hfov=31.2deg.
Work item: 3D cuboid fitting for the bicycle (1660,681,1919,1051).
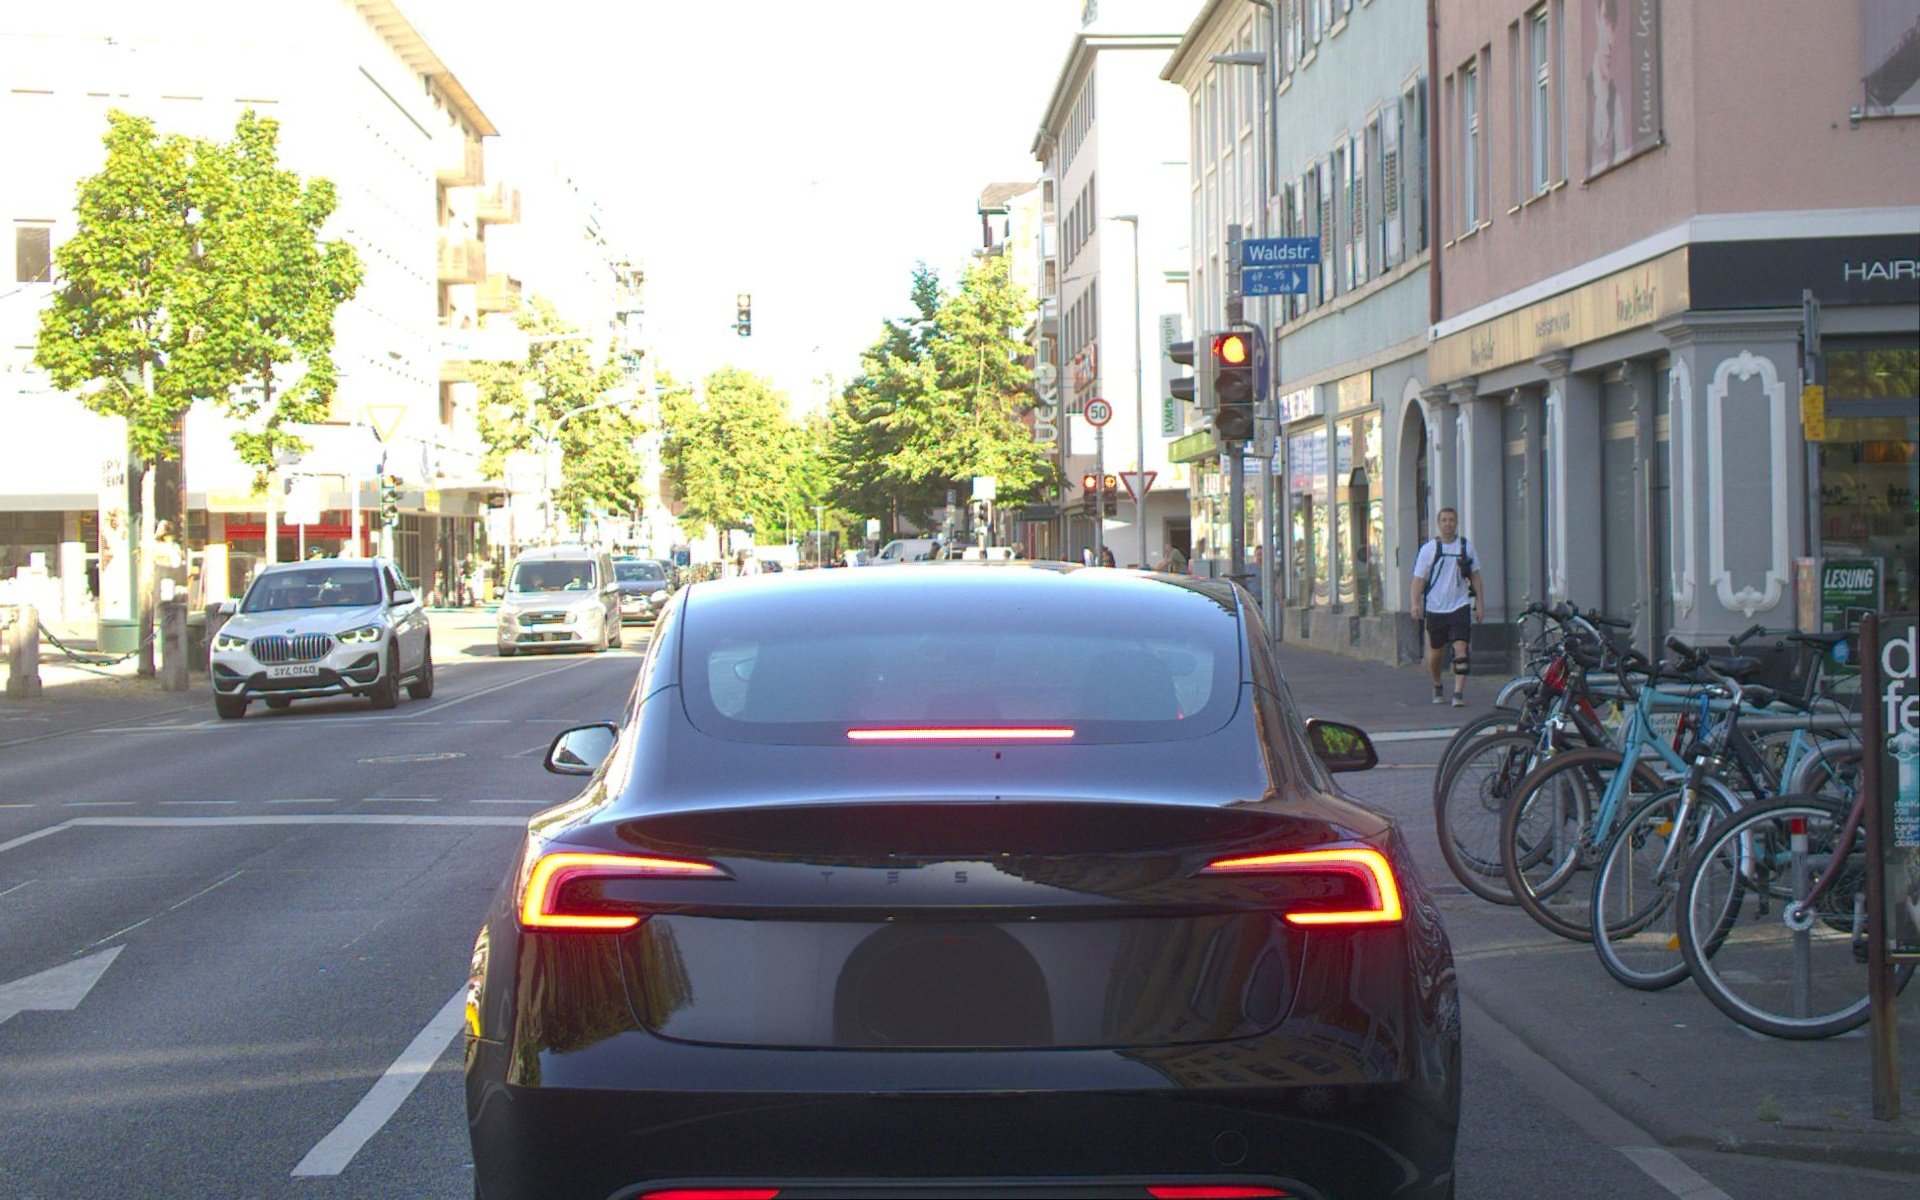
[{"bbox_3d":[3.022,0.753,10.001,1.873,1.034,0.353,-2,0,6],"label":"bicycle"}]

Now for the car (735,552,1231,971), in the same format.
[{"bbox_3d":[0.012,0.534,13.771,1.718,1.420,3.758,0,1,-2],"label":"car"}]

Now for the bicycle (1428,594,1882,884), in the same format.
[{"bbox_3d":[2.963,0.590,14.762,1.828,1.165,0.505,-2,0,5],"label":"bicycle"}]

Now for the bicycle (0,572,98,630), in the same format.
[{"bbox_3d":[-20.787,0.017,77.920,2.361,1.291,0.513,1,0,-26],"label":"bicycle"}]

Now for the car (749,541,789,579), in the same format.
[{"bbox_3d":[-10.400,-2.189,187.205,1.993,2.007,4.000,0,1,-1],"label":"car"}]

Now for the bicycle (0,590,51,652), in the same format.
[{"bbox_3d":[-14.807,0.313,52.200,1.864,0.931,0.606,0,1,-1],"label":"bicycle"}]

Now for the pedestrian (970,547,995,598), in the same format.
[{"bbox_3d":[0.638,-0.771,95.812,0.472,1.412,0.522,1,0,-31],"label":"pedestrian"}]

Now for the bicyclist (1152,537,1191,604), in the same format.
[{"bbox_3d":[4.380,-0.612,71.193,0.669,1.390,0.462,1,0,-16],"label":"bicyclist"}]

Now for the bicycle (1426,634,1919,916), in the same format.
[{"bbox_3d":[2.821,0.687,13.642,1.873,1.034,0.547,-2,0,5],"label":"bicycle"}]

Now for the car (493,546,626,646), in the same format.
[{"bbox_3d":[-6.785,-0.100,58.608,1.787,1.640,4.403,0,1,-1],"label":"car"}]

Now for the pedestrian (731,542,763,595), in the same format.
[{"bbox_3d":[-6.790,-1.010,109.522,0.715,1.689,0.851,0,1,-28],"label":"pedestrian"}]

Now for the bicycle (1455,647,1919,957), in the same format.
[{"bbox_3d":[2.774,0.718,12.443,1.873,1.034,0.533,-2,0,4],"label":"bicycle"}]

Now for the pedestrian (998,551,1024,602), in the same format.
[{"bbox_3d":[1.408,-0.656,95.176,0.521,1.417,0.479,1,0,-30],"label":"pedestrian"}]

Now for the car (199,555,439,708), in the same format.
[{"bbox_3d":[-6.677,0.291,36.166,1.789,1.455,3.757,-2,1,0],"label":"car"}]

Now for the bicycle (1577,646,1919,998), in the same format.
[{"bbox_3d":[2.993,0.701,11.169,1.873,1.084,0.414,-2,0,4],"label":"bicycle"}]

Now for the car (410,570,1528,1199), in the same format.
[{"bbox_3d":[-0.007,0.655,7.611,1.822,1.437,4.000,0,1,-1],"label":"car"}]

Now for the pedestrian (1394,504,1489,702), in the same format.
[{"bbox_3d":[4.373,0.020,31.267,0.750,1.759,0.836,-2,0,4],"label":"pedestrian"}]

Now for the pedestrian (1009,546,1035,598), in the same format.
[{"bbox_3d":[1.734,-0.783,95.853,0.521,1.417,0.479,1,0,-30],"label":"pedestrian"}]

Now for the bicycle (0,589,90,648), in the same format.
[{"bbox_3d":[-14.835,0.288,54.648,1.864,0.931,0.606,0,1,-1],"label":"bicycle"}]

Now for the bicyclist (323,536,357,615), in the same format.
[{"bbox_3d":[-11.919,-0.470,66.087,0.522,1.498,0.476,1,0,-24],"label":"bicyclist"}]

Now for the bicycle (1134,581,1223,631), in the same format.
[{"bbox_3d":[4.530,0.125,71.243,1.784,1.003,0.472,1,0,-16],"label":"bicycle"}]

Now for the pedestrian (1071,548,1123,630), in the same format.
[{"bbox_3d":[2.766,-0.228,69.376,0.754,1.626,0.956,1,0,-18],"label":"pedestrian"}]

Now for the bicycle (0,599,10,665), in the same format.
[{"bbox_3d":[-14.761,0.450,49.749,1.864,0.931,0.606,1,0,-1],"label":"bicycle"}]

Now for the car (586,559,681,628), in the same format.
[{"bbox_3d":[-7.070,-0.166,74.726,1.715,1.441,3.845,1,1,-1],"label":"car"}]

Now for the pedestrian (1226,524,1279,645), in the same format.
[{"bbox_3d":[4.224,-0.224,49.659,0.706,1.736,0.540,0,1,-1],"label":"pedestrian"}]
